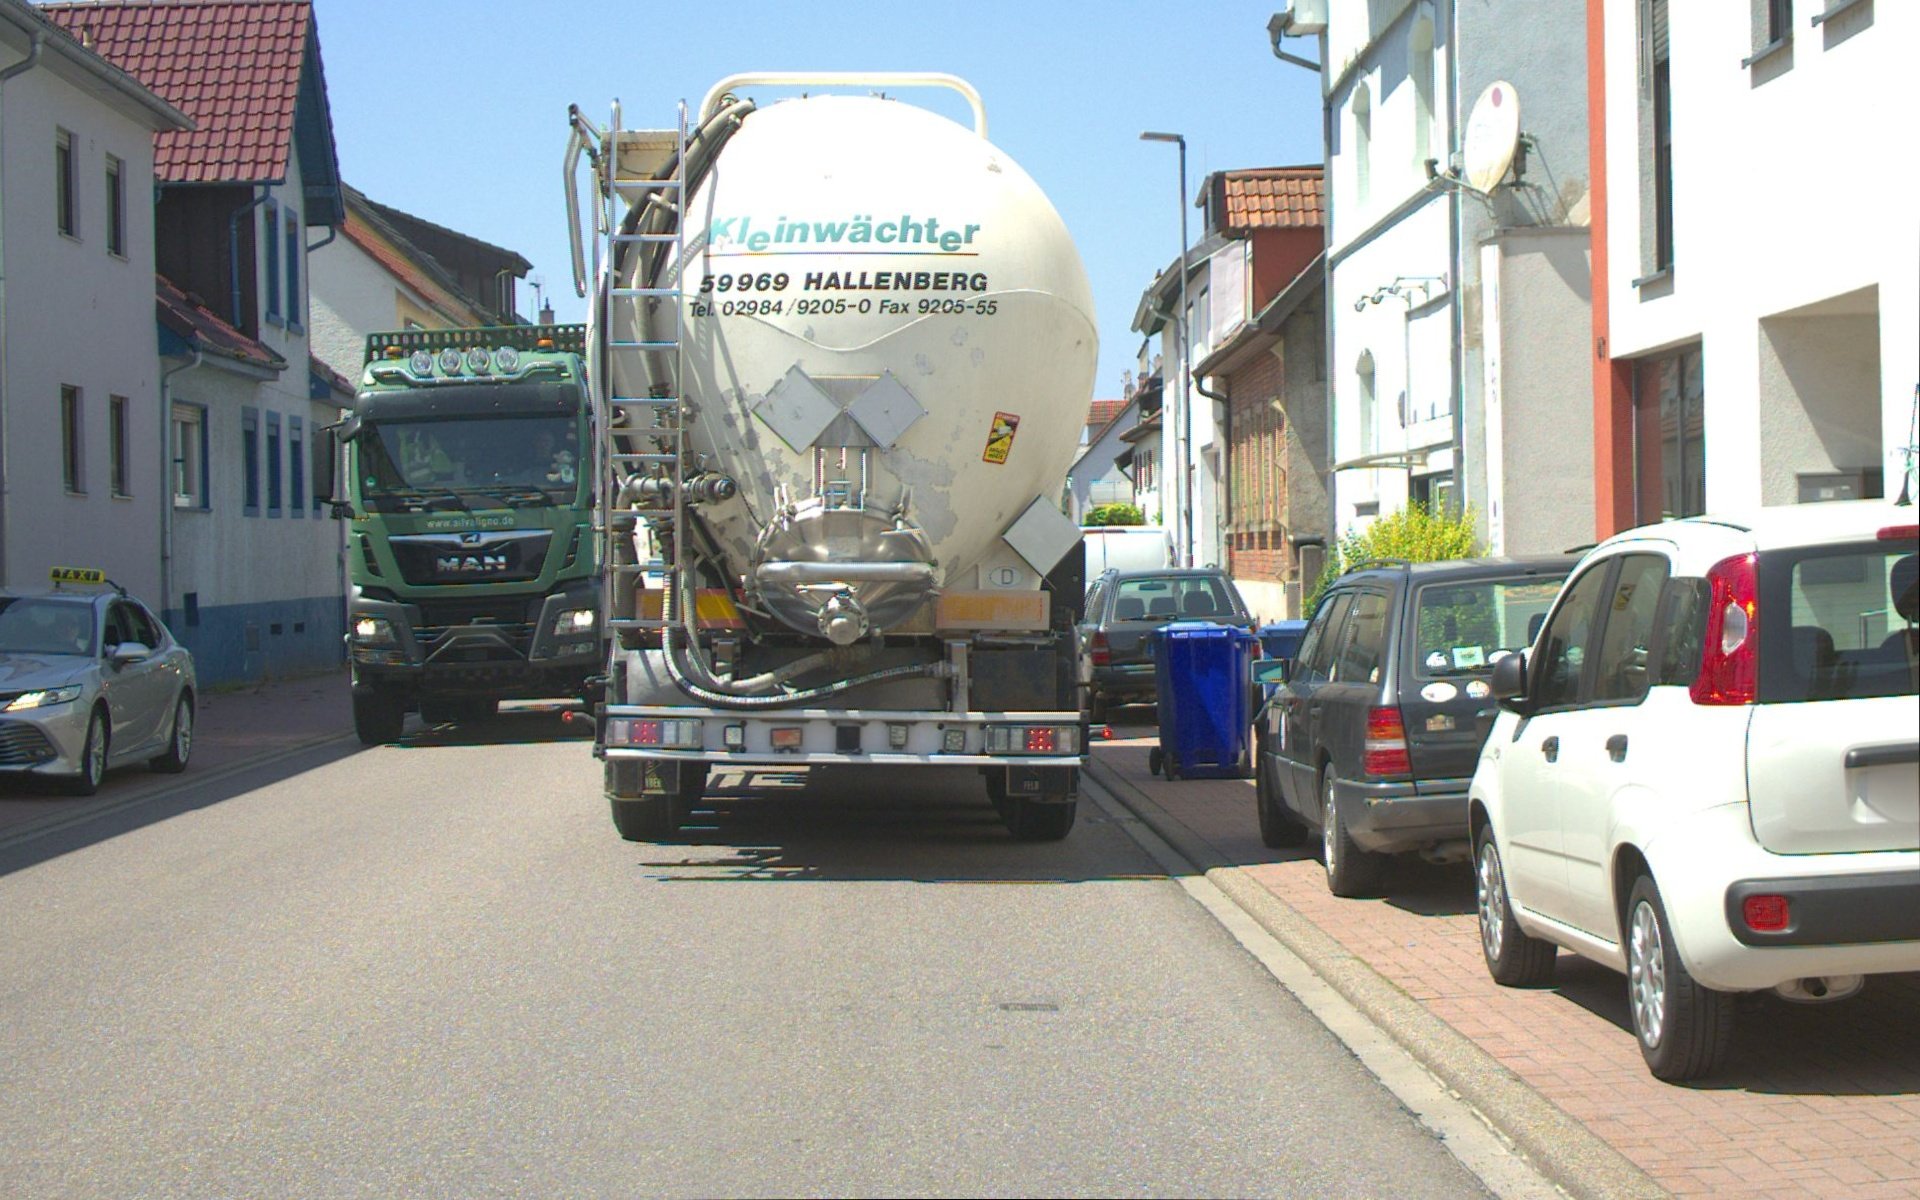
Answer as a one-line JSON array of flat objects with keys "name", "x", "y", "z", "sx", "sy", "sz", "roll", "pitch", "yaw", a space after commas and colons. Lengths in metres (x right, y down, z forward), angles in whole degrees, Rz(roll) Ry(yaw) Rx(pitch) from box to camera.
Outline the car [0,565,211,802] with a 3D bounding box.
[{"name": "car", "x": -6.920, "y": 0.540, "z": 25.453, "sx": 1.808, "sy": 1.552, "sz": 4.565, "roll": 1, "pitch": 1, "yaw": -1}]

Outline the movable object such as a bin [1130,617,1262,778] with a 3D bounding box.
[{"name": "movable object such as a bin", "x": 1.687, "y": 0.683, "z": 24.444, "sx": 0.722, "sy": 1.069, "sz": 0.971, "roll": -3, "pitch": 1, "yaw": 15}]

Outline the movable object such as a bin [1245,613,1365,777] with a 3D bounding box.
[{"name": "movable object such as a bin", "x": 2.371, "y": 0.645, "z": 23.564, "sx": 0.654, "sy": 1.056, "sz": 0.835, "roll": -3, "pitch": 1, "yaw": 15}]

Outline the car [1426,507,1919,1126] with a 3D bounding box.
[{"name": "car", "x": 2.544, "y": 0.504, "z": 10.473, "sx": 1.606, "sy": 1.517, "sz": 3.545, "roll": -3, "pitch": 1, "yaw": -1}]

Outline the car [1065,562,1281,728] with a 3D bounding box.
[{"name": "car", "x": 2.024, "y": 0.391, "z": 33.778, "sx": 1.770, "sy": 1.461, "sz": 4.578, "roll": -2, "pitch": 1, "yaw": 0}]

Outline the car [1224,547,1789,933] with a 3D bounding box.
[{"name": "car", "x": 2.371, "y": 0.529, "z": 16.147, "sx": 1.700, "sy": 1.442, "sz": 4.837, "roll": -3, "pitch": 1, "yaw": -1}]

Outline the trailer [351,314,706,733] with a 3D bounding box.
[{"name": "trailer", "x": -4.761, "y": -0.816, "z": 41.210, "sx": 2.630, "sy": 3.965, "sz": 15.700, "roll": -2, "pitch": 1, "yaw": -2}]

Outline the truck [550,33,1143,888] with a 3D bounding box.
[{"name": "truck", "x": -0.611, "y": -0.668, "z": 20.003, "sx": 2.732, "sy": 3.946, "sz": 8.142, "roll": 0, "pitch": 0, "yaw": -1}]

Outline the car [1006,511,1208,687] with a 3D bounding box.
[{"name": "car", "x": 1.716, "y": -0.039, "z": 41.788, "sx": 1.946, "sy": 1.963, "sz": 4.785, "roll": -2, "pitch": 1, "yaw": -3}]

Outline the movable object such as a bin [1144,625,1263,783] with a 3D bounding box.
[{"name": "movable object such as a bin", "x": 1.680, "y": 0.712, "z": 23.655, "sx": 0.656, "sy": 1.031, "sz": 0.684, "roll": -3, "pitch": 1, "yaw": 15}]

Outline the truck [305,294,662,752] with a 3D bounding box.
[{"name": "truck", "x": -4.531, "y": -0.720, "z": 34.010, "sx": 2.618, "sy": 3.972, "sz": 6.853, "roll": -2, "pitch": 1, "yaw": -2}]
